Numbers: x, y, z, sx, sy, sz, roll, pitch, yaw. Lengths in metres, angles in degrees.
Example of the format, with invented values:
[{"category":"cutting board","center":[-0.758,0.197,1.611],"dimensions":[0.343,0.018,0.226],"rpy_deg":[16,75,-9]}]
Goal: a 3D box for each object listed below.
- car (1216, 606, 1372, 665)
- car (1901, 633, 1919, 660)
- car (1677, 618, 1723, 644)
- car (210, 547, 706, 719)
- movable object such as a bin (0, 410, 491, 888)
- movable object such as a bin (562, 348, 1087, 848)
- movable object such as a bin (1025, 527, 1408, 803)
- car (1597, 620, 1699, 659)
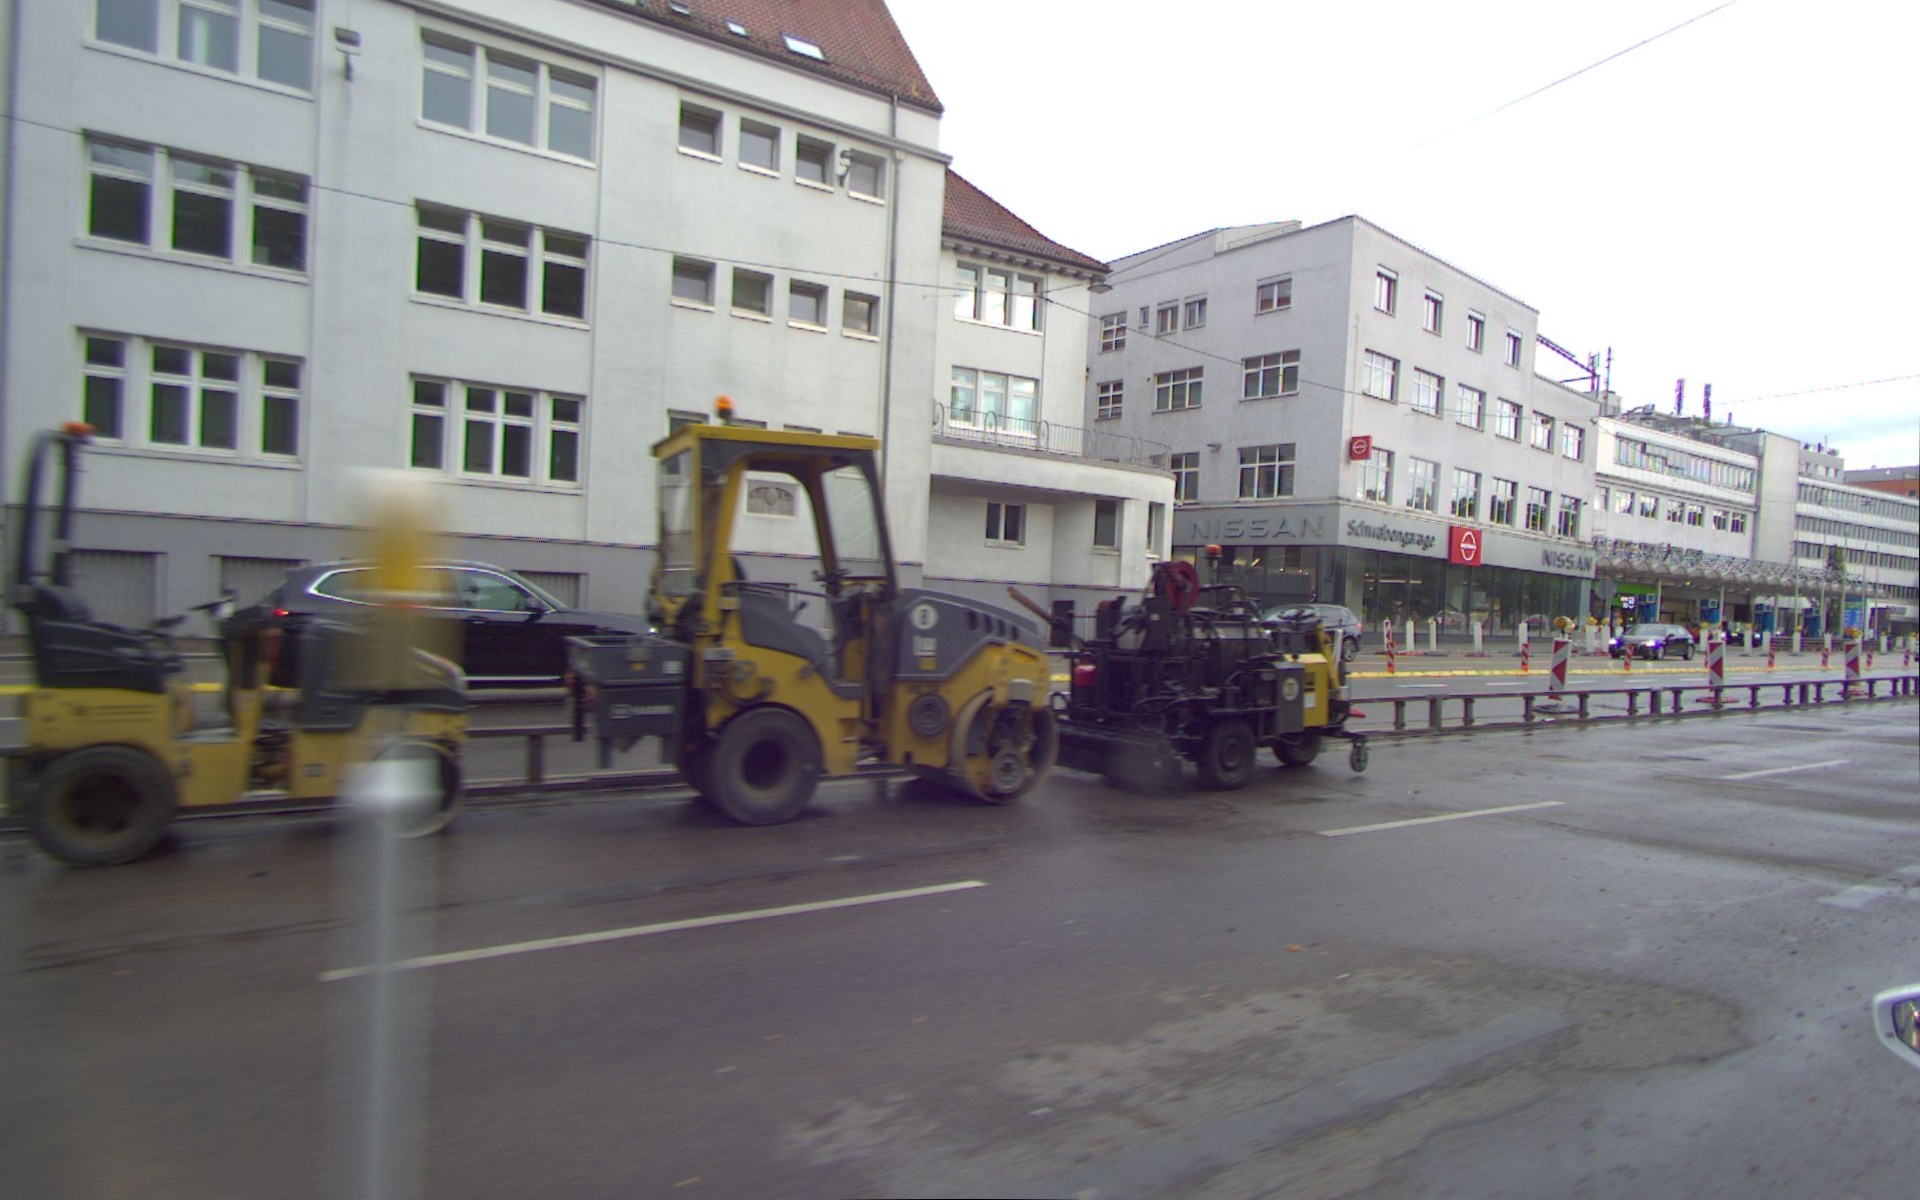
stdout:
[{"category":"car","center":[9.818,1.023,29.425],"dimensions":[4.505,1.564,1.825],"rpy_deg":[1,1,-31]},{"category":"car","center":[52.718,2.536,54.333],"dimensions":[4.412,1.400,1.768],"rpy_deg":[2,-1,-35]},{"category":"car","center":[54.494,2.260,74.021],"dimensions":[1.771,1.677,3.997],"rpy_deg":[4,2,24]},{"category":"car","center":[-5.757,0.340,12.077],"dimensions":[4.920,1.729,1.986],"rpy_deg":[1,2,-27]},{"category":"movable object such as a bin","center":[-4.324,0.276,6.283],"dimensions":[2.378,2.433,1.403],"rpy_deg":[1,-1,-31]},{"category":"movable object such as a bin","center":[-0.960,0.027,7.672],"dimensions":[3.679,3.048,1.459],"rpy_deg":[1,-1,-30]},{"category":"movable object such as a bin","center":[2.464,0.555,9.534],"dimensions":[3.311,2.178,1.707],"rpy_deg":[1,-1,-31]},{"category":"car","center":[27.597,1.592,40.261],"dimensions":[4.202,1.424,1.753],"rpy_deg":[2,0,-31]}]
